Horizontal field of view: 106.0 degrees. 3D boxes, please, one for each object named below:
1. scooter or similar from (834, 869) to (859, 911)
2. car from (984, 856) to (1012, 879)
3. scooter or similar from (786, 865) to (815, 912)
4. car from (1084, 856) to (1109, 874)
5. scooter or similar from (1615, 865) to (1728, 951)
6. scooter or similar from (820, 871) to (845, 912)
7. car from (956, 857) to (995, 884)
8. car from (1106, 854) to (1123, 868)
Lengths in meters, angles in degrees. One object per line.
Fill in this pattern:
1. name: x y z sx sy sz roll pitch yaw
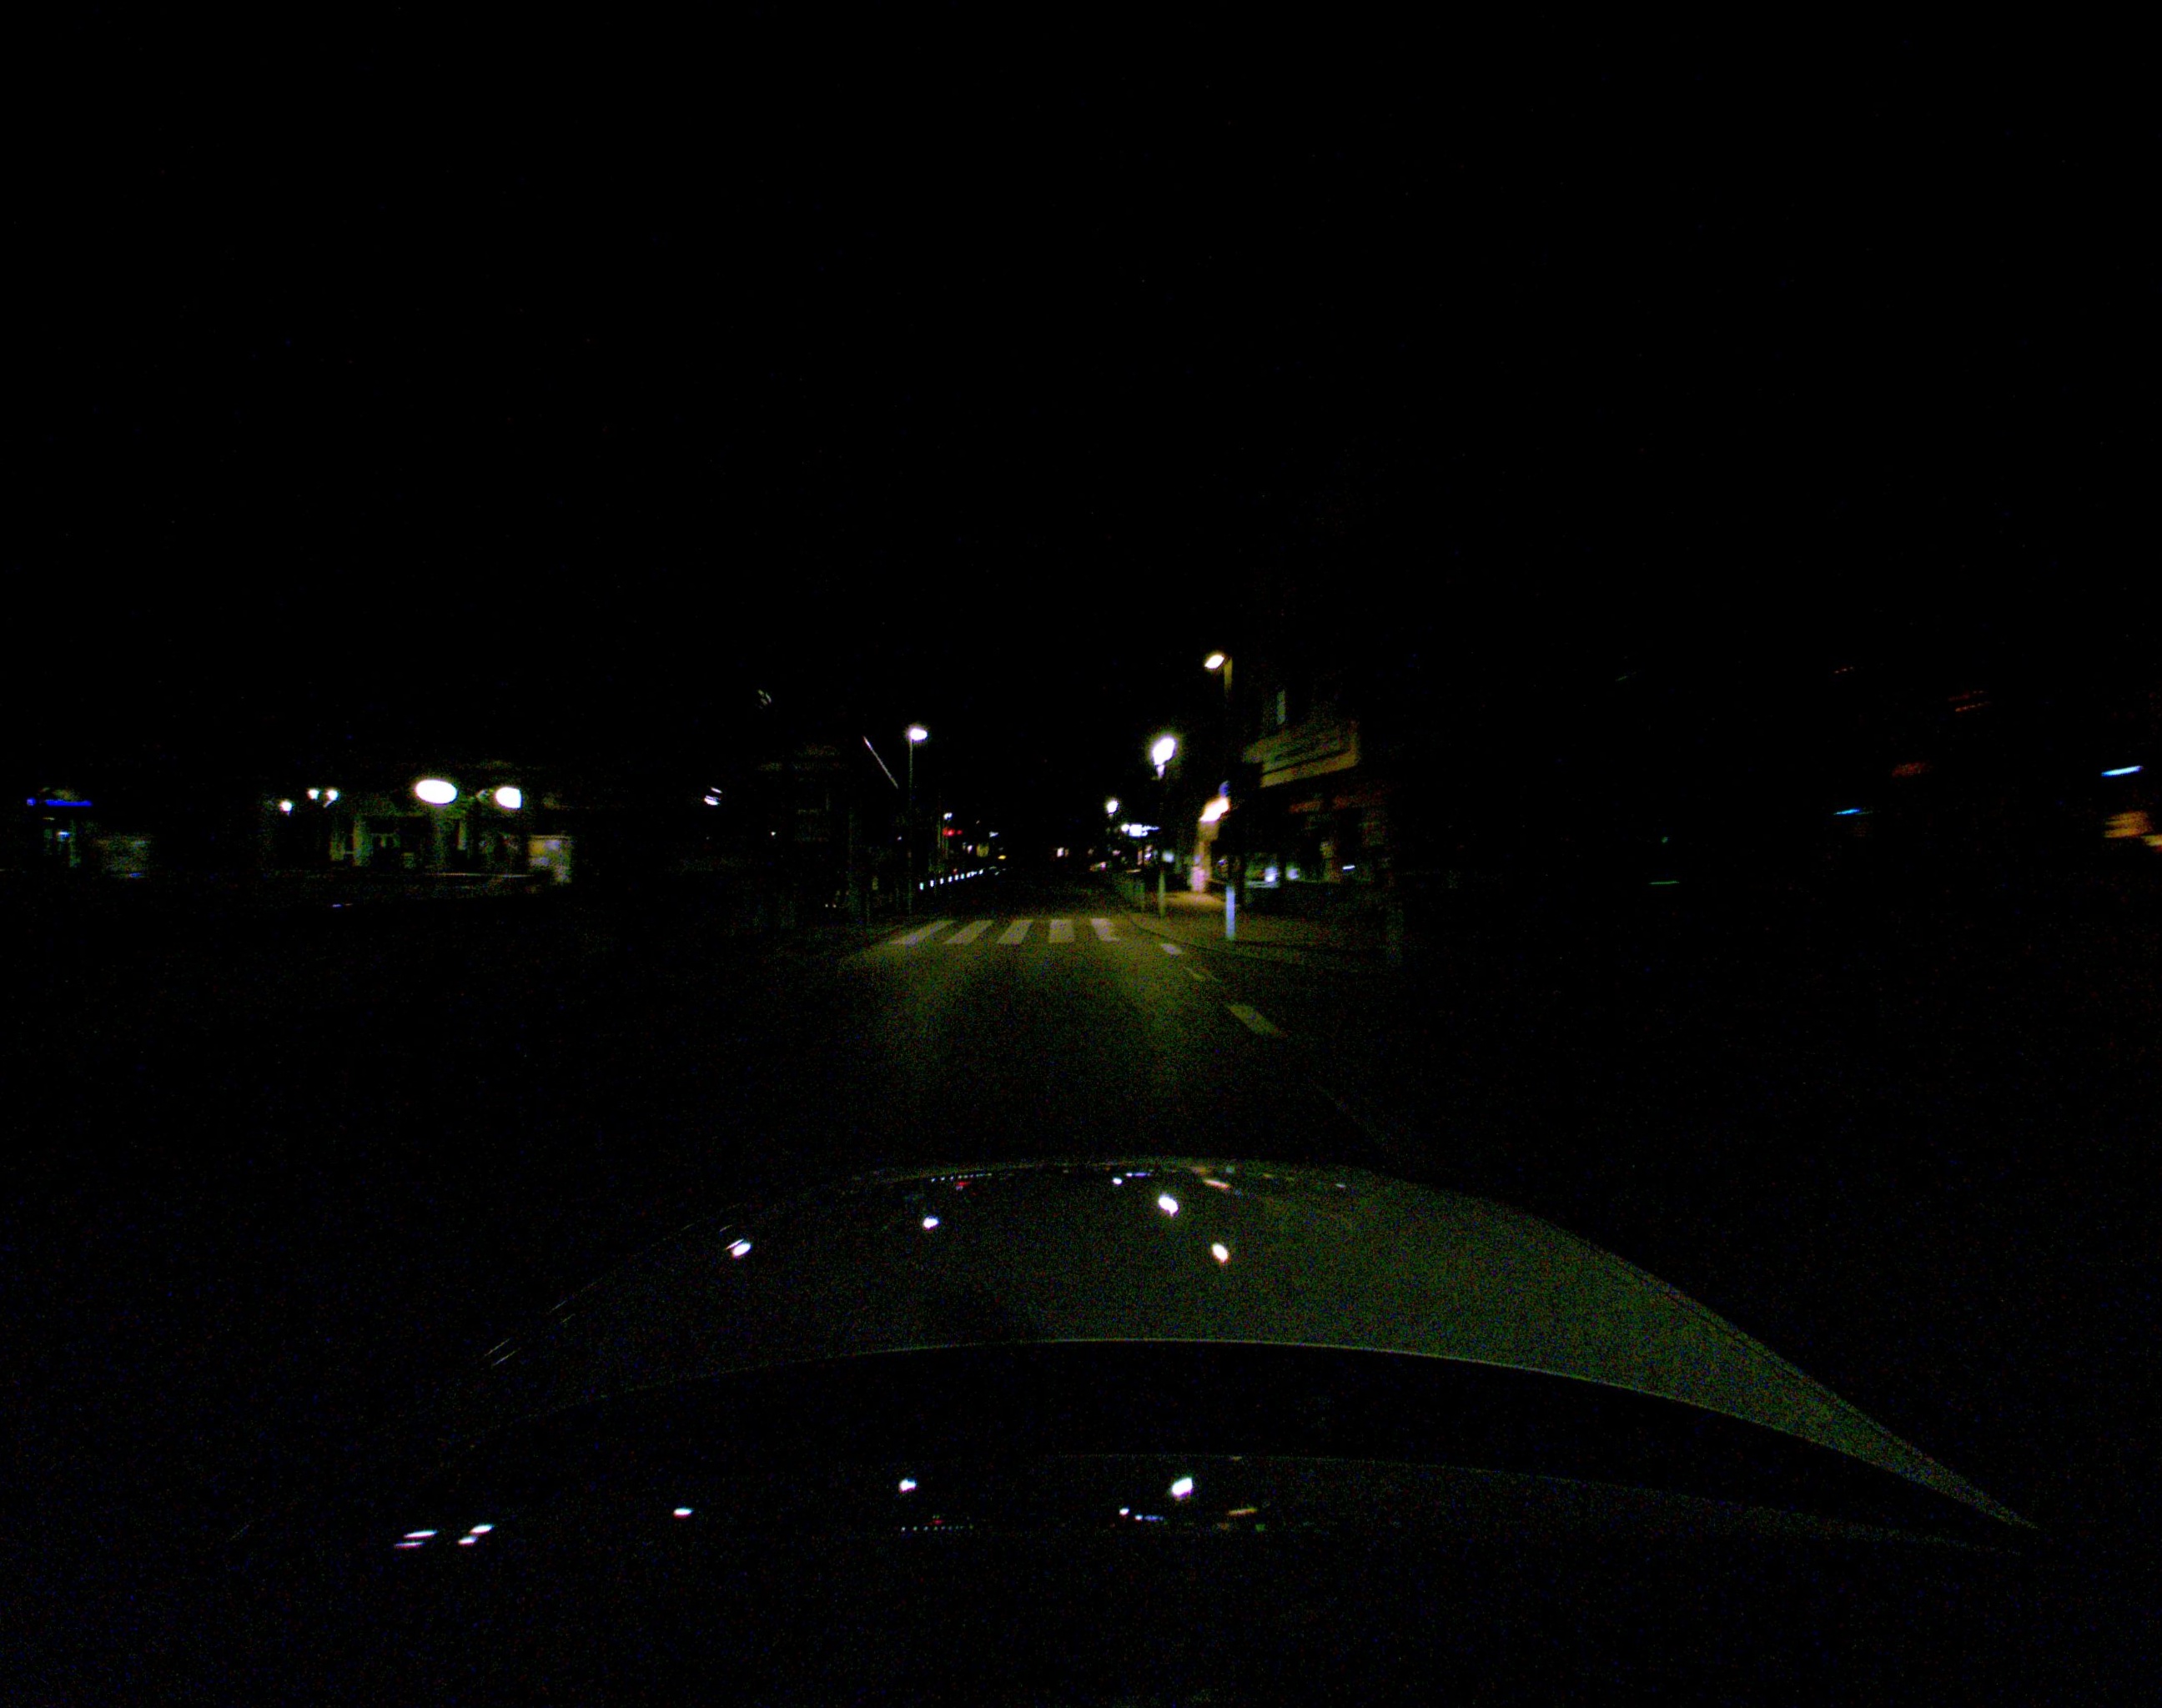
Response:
1. scooter or similar: -6.830 1.041 23.726 0.429 1.134 1.003 -2 1 -2
2. car: -5.988 0.910 58.327 1.833 1.453 3.989 -2 1 -8
3. scooter or similar: -8.140 0.995 23.652 0.429 1.284 1.146 -2 1 -2
4. car: 1.282 0.913 67.830 1.829 1.358 3.997 -2 1 -3
5. scooter or similar: 8.938 0.807 12.365 1.240 1.227 0.599 1 1 4
6. scooter or similar: -7.243 1.074 23.756 0.429 1.106 1.003 -2 1 -2
7. car: -6.137 0.938 47.813 1.829 1.453 3.997 -2 -1 -2
8. car: 3.975 0.778 97.073 1.705 1.547 3.536 -2 1 -3
